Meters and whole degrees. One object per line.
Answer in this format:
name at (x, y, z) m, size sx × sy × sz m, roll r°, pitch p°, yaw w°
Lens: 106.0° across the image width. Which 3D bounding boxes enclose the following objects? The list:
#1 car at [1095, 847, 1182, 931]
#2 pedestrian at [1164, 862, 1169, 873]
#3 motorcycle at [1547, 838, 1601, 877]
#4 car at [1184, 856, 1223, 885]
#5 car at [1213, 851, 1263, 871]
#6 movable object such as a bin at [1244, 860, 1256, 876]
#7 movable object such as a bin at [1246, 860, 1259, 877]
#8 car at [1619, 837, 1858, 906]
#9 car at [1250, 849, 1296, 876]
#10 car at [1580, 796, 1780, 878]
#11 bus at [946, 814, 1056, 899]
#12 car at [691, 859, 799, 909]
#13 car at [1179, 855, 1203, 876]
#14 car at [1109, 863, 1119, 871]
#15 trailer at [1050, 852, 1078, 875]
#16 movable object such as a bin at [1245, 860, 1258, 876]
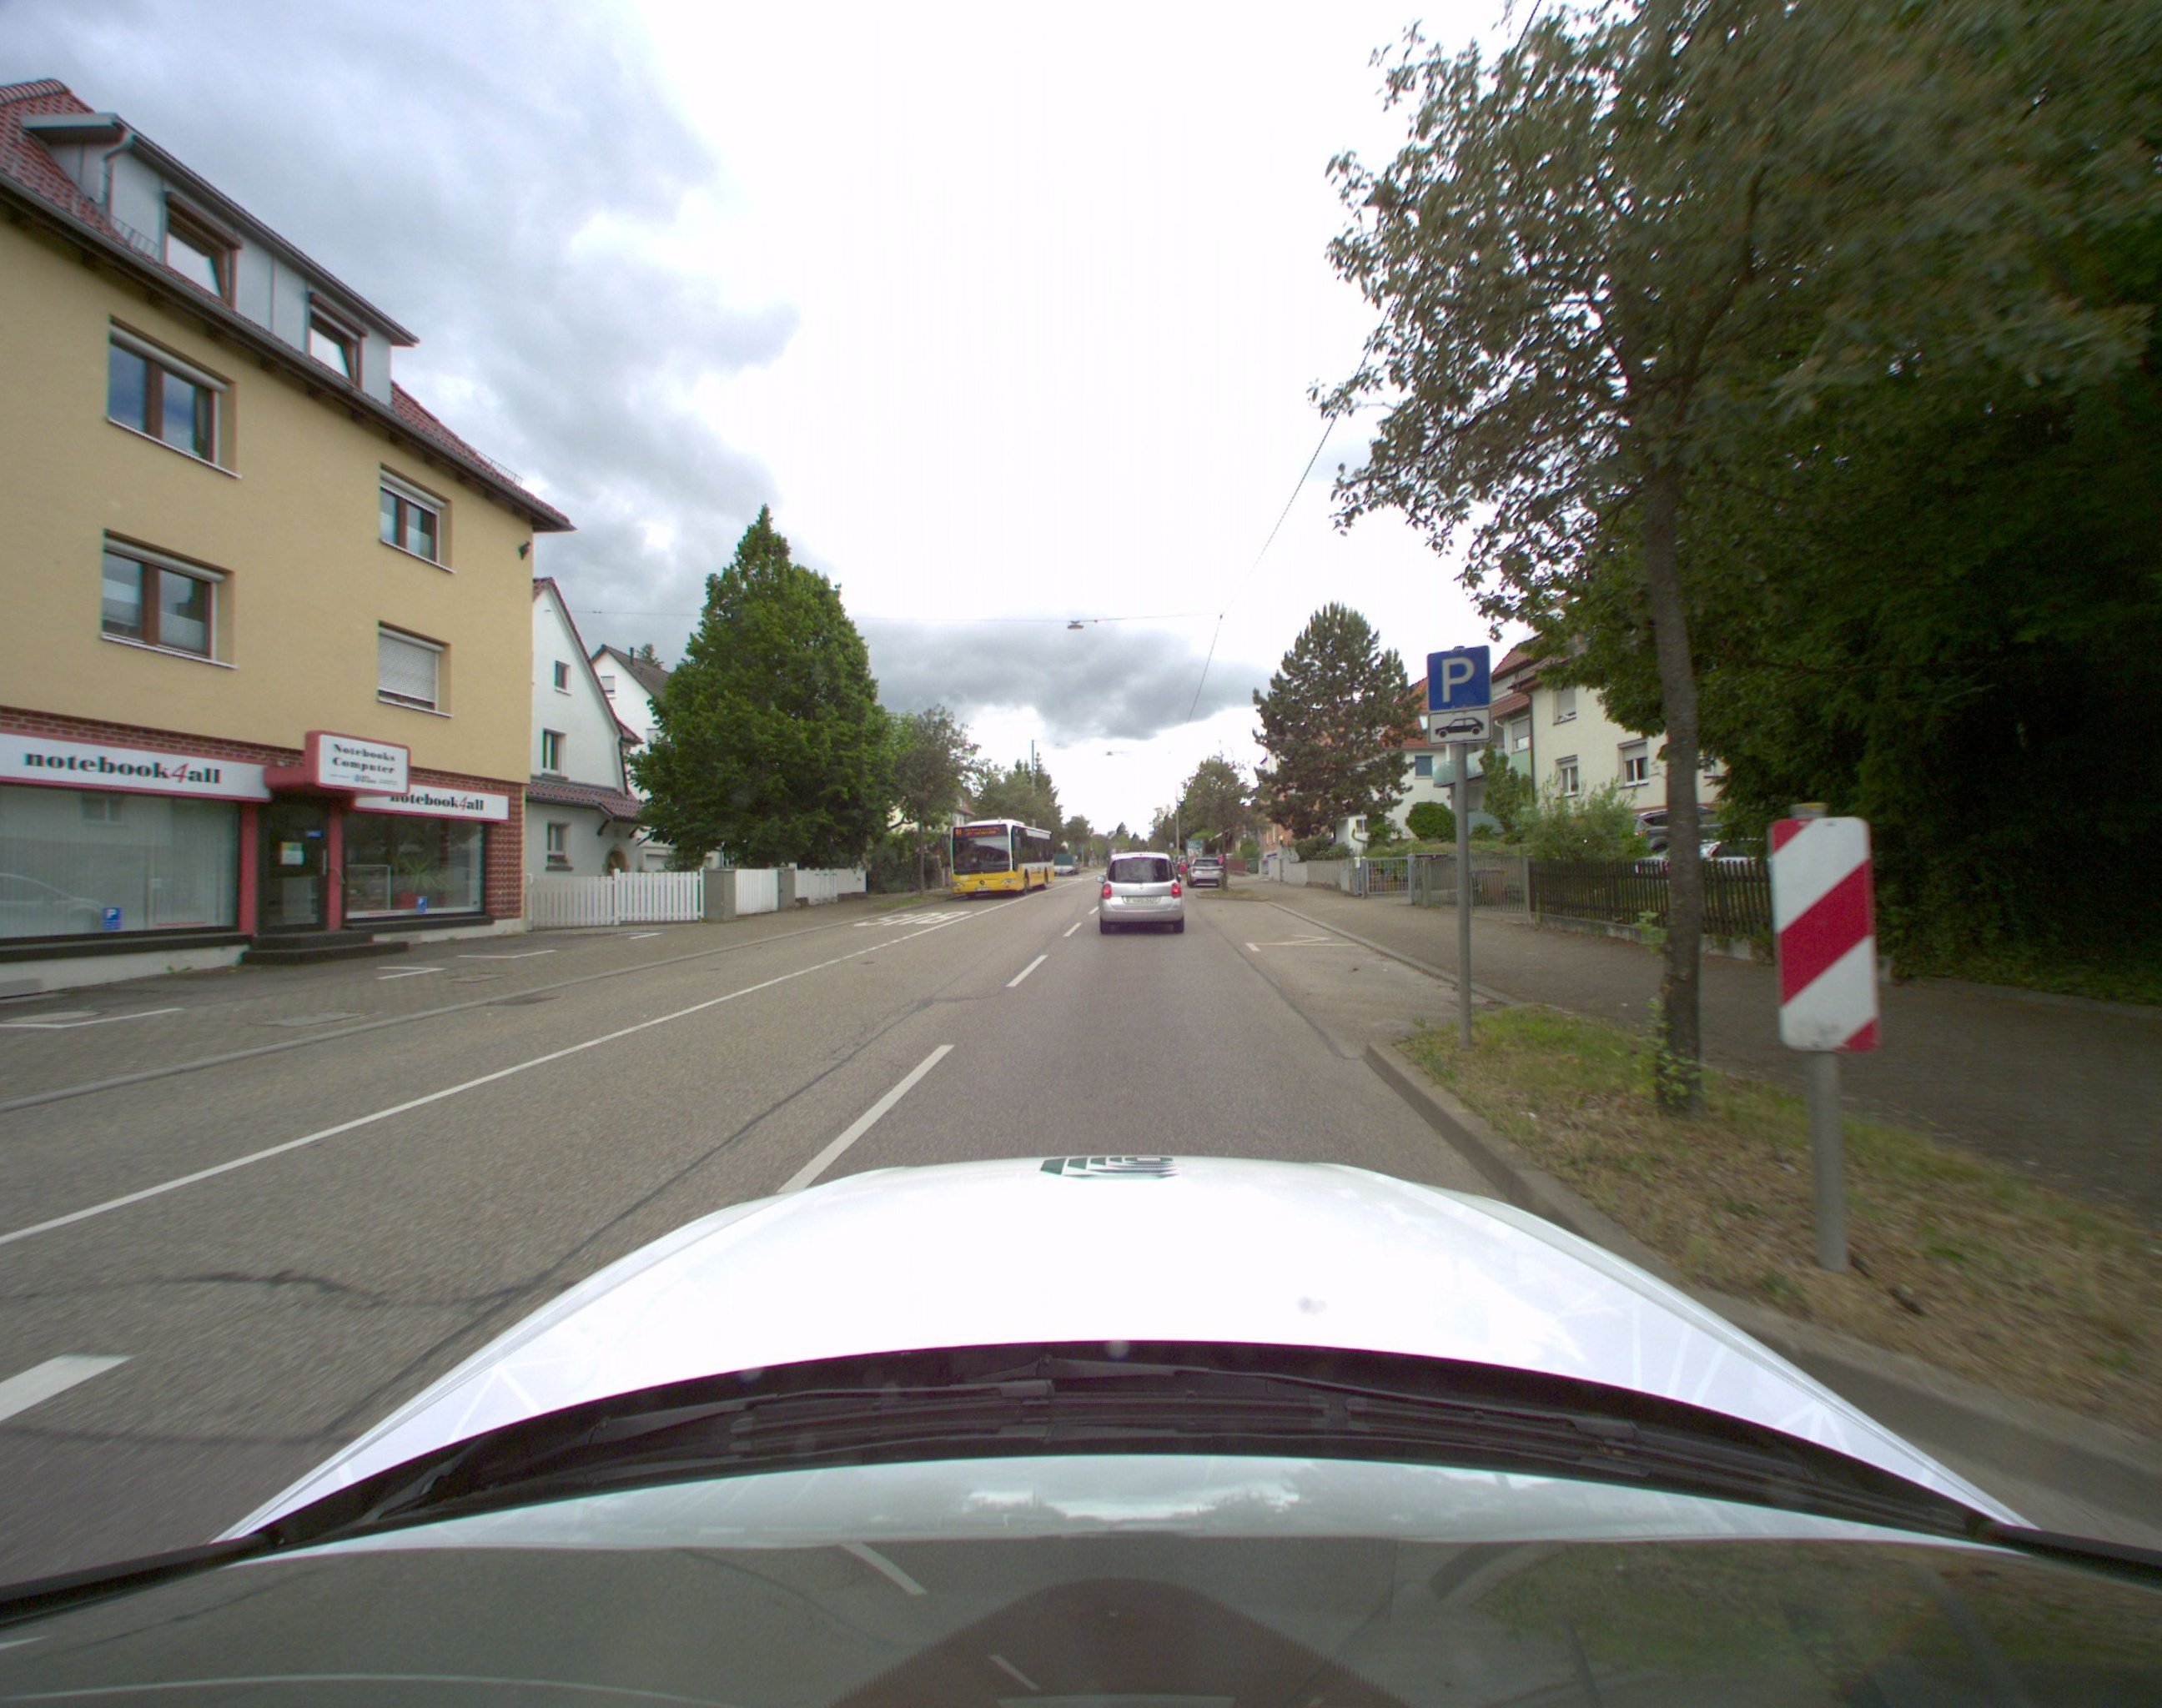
car at (1.268, 0.709, 17.288) m, size 1.622 × 1.557 × 4.005 m, roll 0°, pitch -2°, yaw 5°
pedestrian at (13.455, 2.088, 127.466) m, size 0.702 × 1.647 × 0.774 m, roll -1°, pitch -1°, yaw 3°
motorcycle at (15.335, 0.118, 25.348) m, size 1.220 × 1.046 × 0.584 m, roll -6°, pitch -3°, yaw -7°
car at (5.964, 0.827, 39.874) m, size 1.642 × 1.382 × 4.005 m, roll 0°, pitch -2°, yaw 5°
car at (13.863, 0.653, 71.983) m, size 3.980 × 1.496 × 1.807 m, roll -4°, pitch -1°, yaw -4°
movable object such as a bin at (12.041, 1.007, 58.000) m, size 0.773 × 1.104 × 0.692 m, roll -1°, pitch -1°, yaw 3°
movable object such as a bin at (11.915, 1.002, 56.507) m, size 0.773 × 1.104 × 0.692 m, roll -1°, pitch -1°, yaw 3°
car at (14.731, 0.399, 18.406) m, size 3.970 × 1.393 × 1.647 m, roll -1°, pitch -1°, yaw 3°
car at (12.557, 0.514, 53.102) m, size 1.801 × 1.380 × 4.507 m, roll -5°, pitch 0°, yaw 27°
car at (16.501, -0.428, 22.589) m, size 3.974 × 1.703 × 1.885 m, roll -6°, pitch -3°, yaw 0°
bus at (-3.196, 0.171, 36.588) m, size 2.619 × 3.086 × 12.085 m, roll -2°, pitch -1°, yaw 5°
car at (-11.806, 1.001, 28.967) m, size 1.800 × 1.564 × 4.618 m, roll -3°, pitch 0°, yaw 1°
car at (7.902, 0.838, 58.612) m, size 1.654 × 1.393 × 3.674 m, roll -2°, pitch -1°, yaw 7°
car at (7.167, 2.733, 175.643) m, size 1.900 × 1.618 × 3.998 m, roll 0°, pitch -2°, yaw -1°
trailer at (-1.631, 0.965, 80.219) m, size 2.302 × 2.087 × 5.876 m, roll 1°, pitch -2°, yaw 3°
movable object such as a bin at (12.009, 0.986, 57.261) m, size 0.773 × 1.104 × 0.692 m, roll -1°, pitch -1°, yaw 3°
